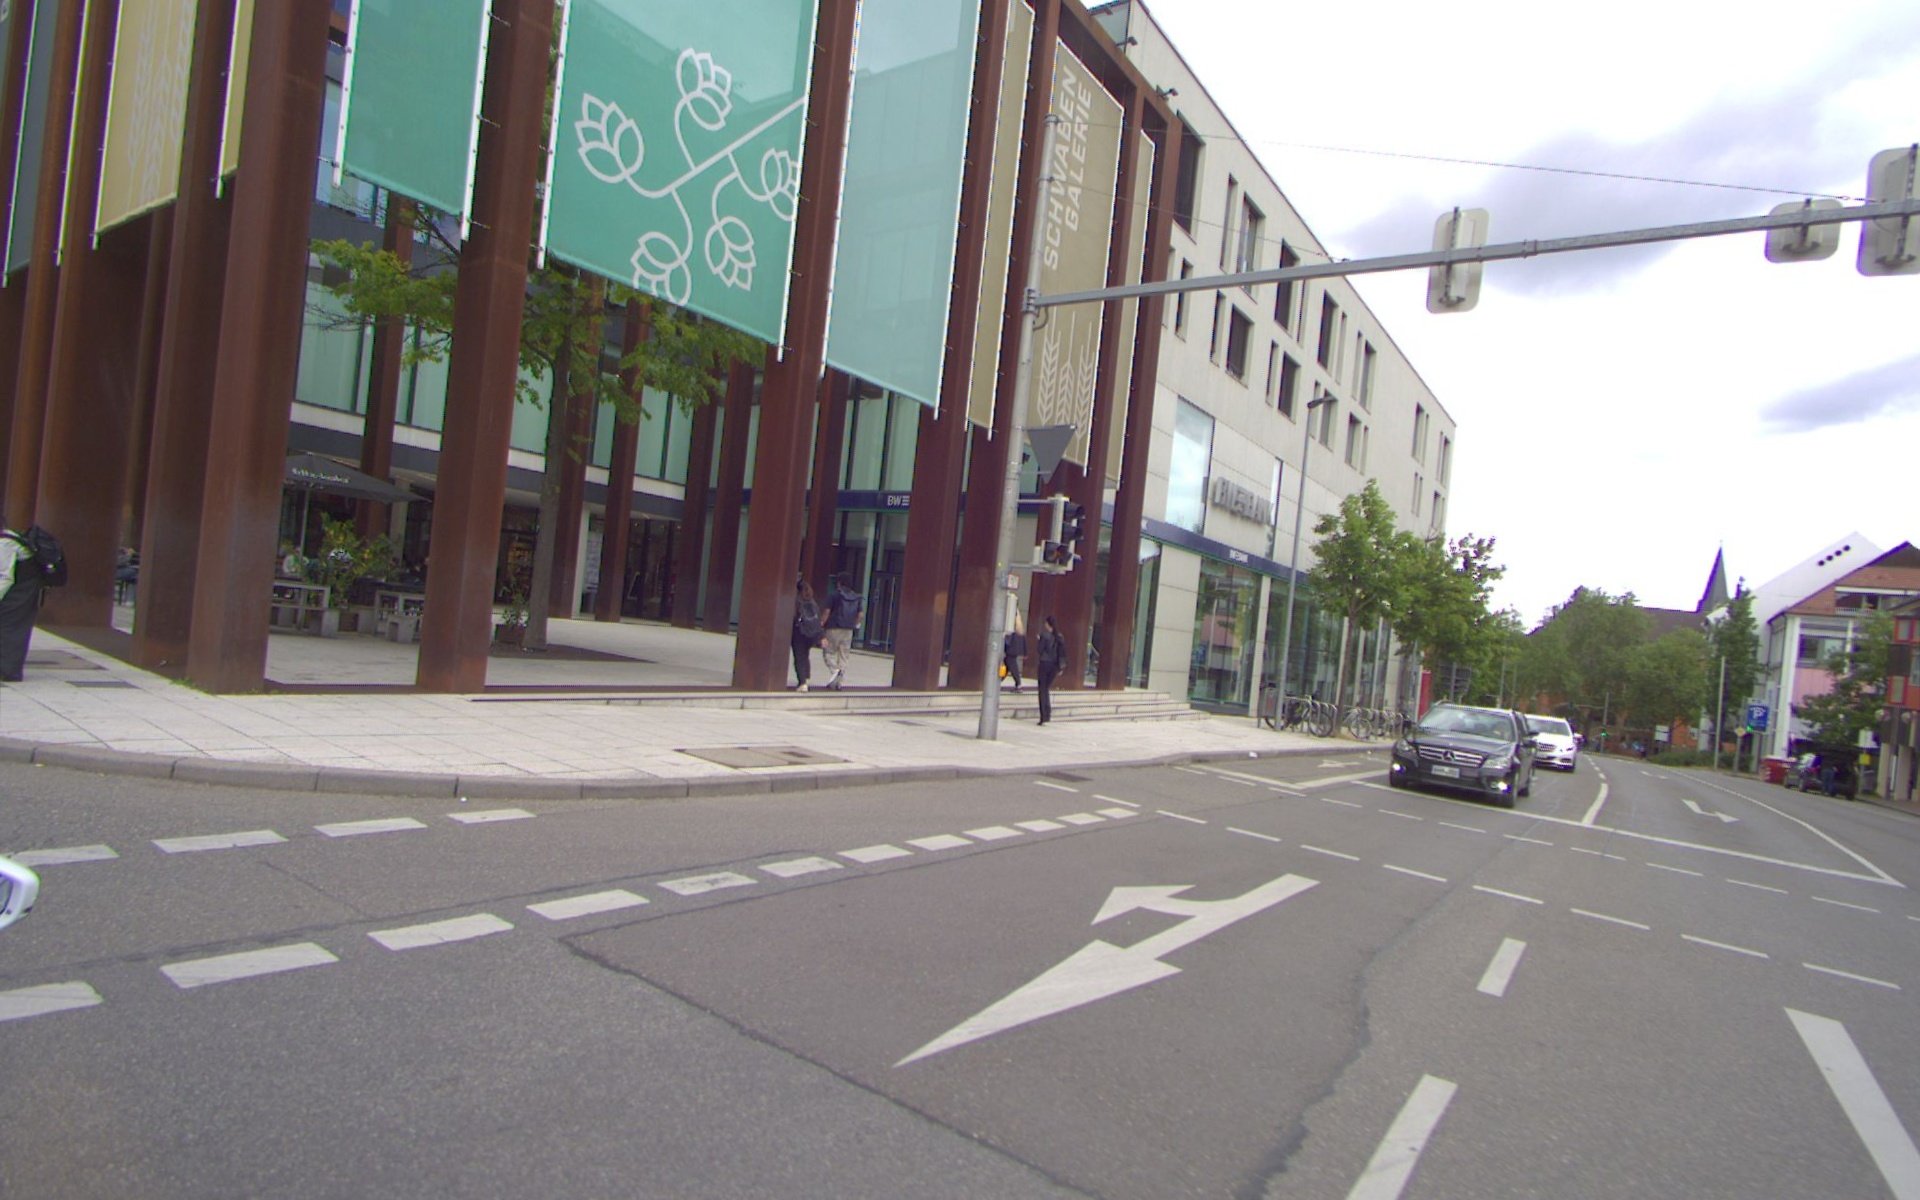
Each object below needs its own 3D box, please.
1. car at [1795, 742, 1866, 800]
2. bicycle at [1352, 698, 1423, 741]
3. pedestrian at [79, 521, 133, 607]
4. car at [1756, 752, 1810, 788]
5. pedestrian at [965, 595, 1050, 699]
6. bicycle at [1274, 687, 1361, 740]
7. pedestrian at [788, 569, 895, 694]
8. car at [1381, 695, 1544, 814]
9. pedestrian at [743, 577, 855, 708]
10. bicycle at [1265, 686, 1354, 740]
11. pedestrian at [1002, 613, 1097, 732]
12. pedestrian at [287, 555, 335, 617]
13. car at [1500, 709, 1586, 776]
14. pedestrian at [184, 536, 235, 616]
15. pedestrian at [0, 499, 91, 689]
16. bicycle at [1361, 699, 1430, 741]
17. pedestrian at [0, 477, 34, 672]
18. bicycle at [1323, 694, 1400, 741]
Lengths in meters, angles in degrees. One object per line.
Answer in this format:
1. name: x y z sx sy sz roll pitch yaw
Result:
1. car: 36.593 7.149 42.359 1.699 2.036 3.733 8 -2 36
2. bicycle: 14.200 3.956 33.462 1.961 1.115 0.718 6 0 36
3. pedestrian: -13.160 -0.556 15.502 0.598 1.235 0.447 7 0 39
4. car: 41.274 8.479 50.512 1.699 1.410 3.733 8 -2 36
5. pedestrian: 0.886 0.877 18.685 1.102 1.789 0.879 6 0 34
6. bicycle: 9.538 3.013 26.864 1.961 1.115 0.718 6 0 36
7. pedestrian: -1.763 0.469 14.968 1.102 1.702 0.879 6 0 34
8. car: 8.291 2.417 16.385 1.772 1.420 4.178 7 -2 34
9. pedestrian: -2.284 0.599 14.258 1.102 1.702 0.879 6 0 34
10. bicycle: 9.024 2.904 26.021 1.961 1.115 0.718 6 0 36
11. pedestrian: 1.476 1.192 16.581 1.102 1.789 0.879 6 0 34
12. pedestrian: -13.972 -0.305 21.655 0.783 1.223 0.515 8 1 35
13. car: 16.921 4.059 29.098 1.772 1.505 4.563 7 -2 34
14. pedestrian: -12.333 -0.396 16.529 0.598 1.235 0.447 7 0 41
15. pedestrian: -7.415 -0.054 7.966 0.574 1.437 0.601 7 0 39
16. bicycle: 14.920 4.101 34.489 1.961 1.115 0.718 6 0 36
17. pedestrian: -8.564 -0.254 8.422 0.860 1.666 0.677 7 0 -19
18. bicycle: 12.181 3.547 30.526 1.961 1.115 0.718 6 0 36
